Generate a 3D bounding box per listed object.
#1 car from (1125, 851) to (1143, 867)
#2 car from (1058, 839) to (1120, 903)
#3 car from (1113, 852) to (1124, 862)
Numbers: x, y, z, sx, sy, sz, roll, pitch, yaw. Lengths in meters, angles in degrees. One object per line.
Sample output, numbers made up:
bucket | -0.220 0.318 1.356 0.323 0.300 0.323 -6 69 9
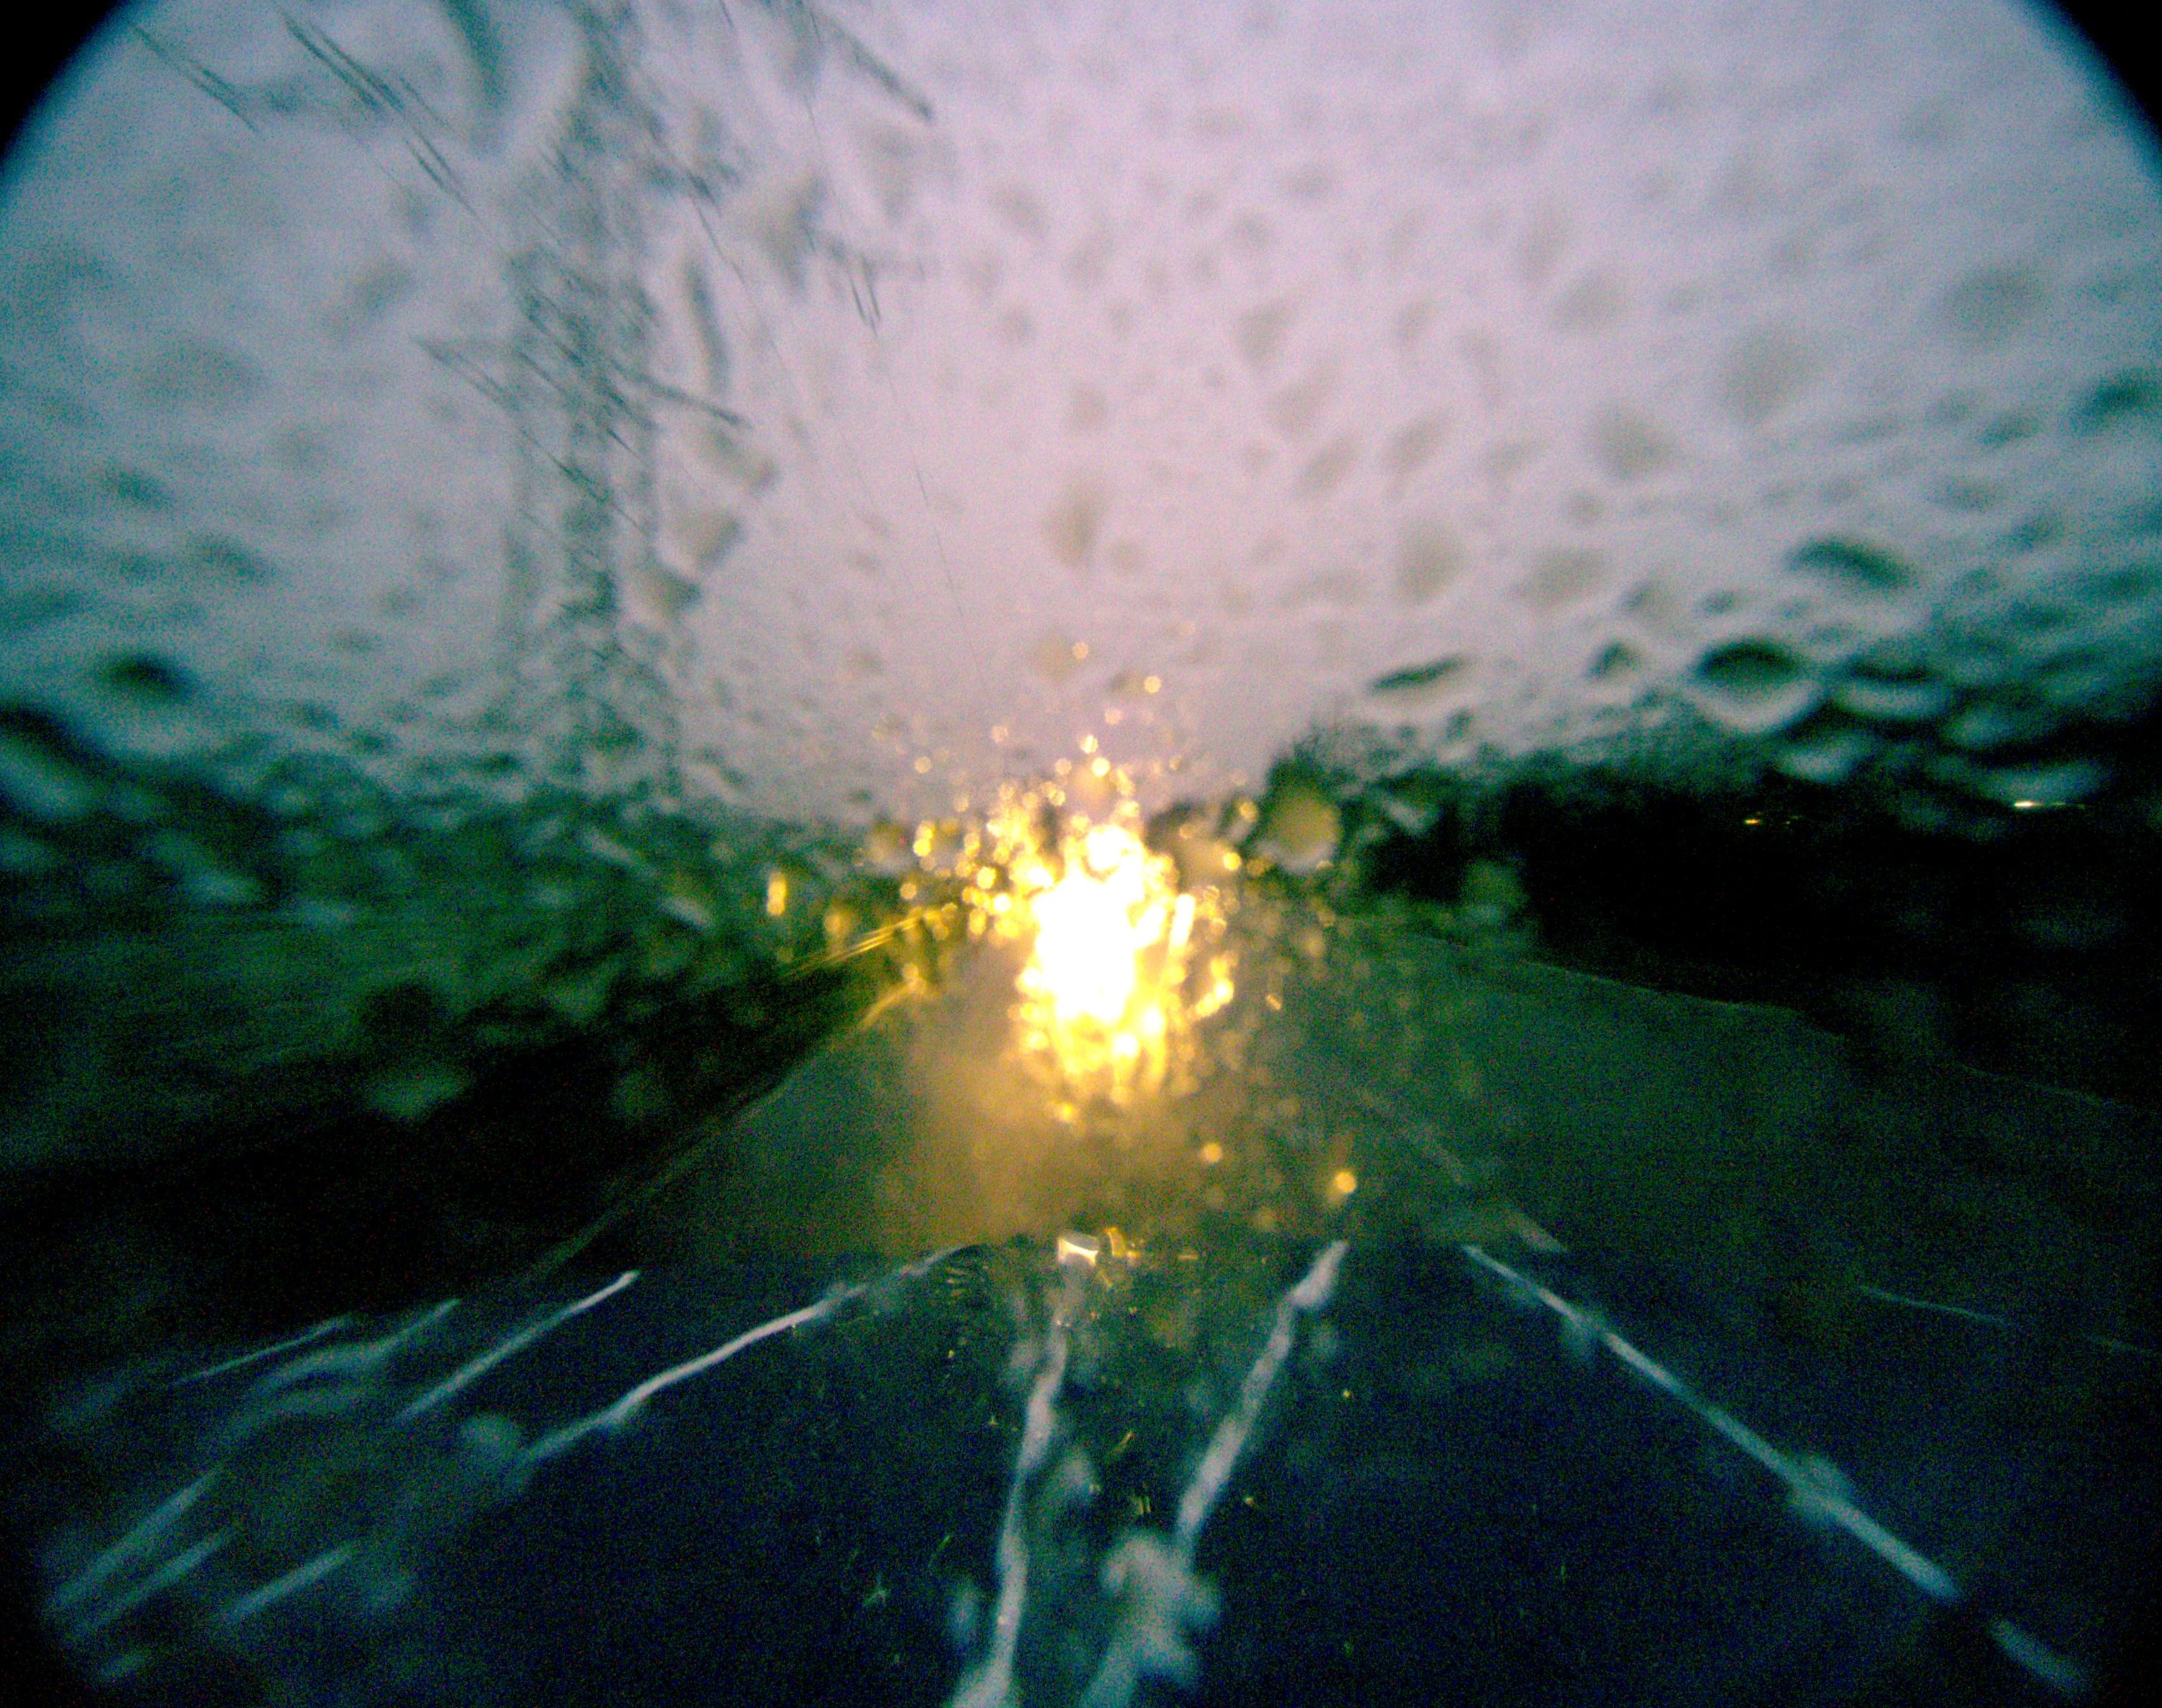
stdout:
car | 5.652 0.482 81.172 1.739 1.604 4.212 -2 0 2
car | 0.200 0.526 26.502 1.857 2.002 3.998 -2 1 -3
car | 6.004 0.470 121.728 1.649 1.455 3.872 -2 0 1
